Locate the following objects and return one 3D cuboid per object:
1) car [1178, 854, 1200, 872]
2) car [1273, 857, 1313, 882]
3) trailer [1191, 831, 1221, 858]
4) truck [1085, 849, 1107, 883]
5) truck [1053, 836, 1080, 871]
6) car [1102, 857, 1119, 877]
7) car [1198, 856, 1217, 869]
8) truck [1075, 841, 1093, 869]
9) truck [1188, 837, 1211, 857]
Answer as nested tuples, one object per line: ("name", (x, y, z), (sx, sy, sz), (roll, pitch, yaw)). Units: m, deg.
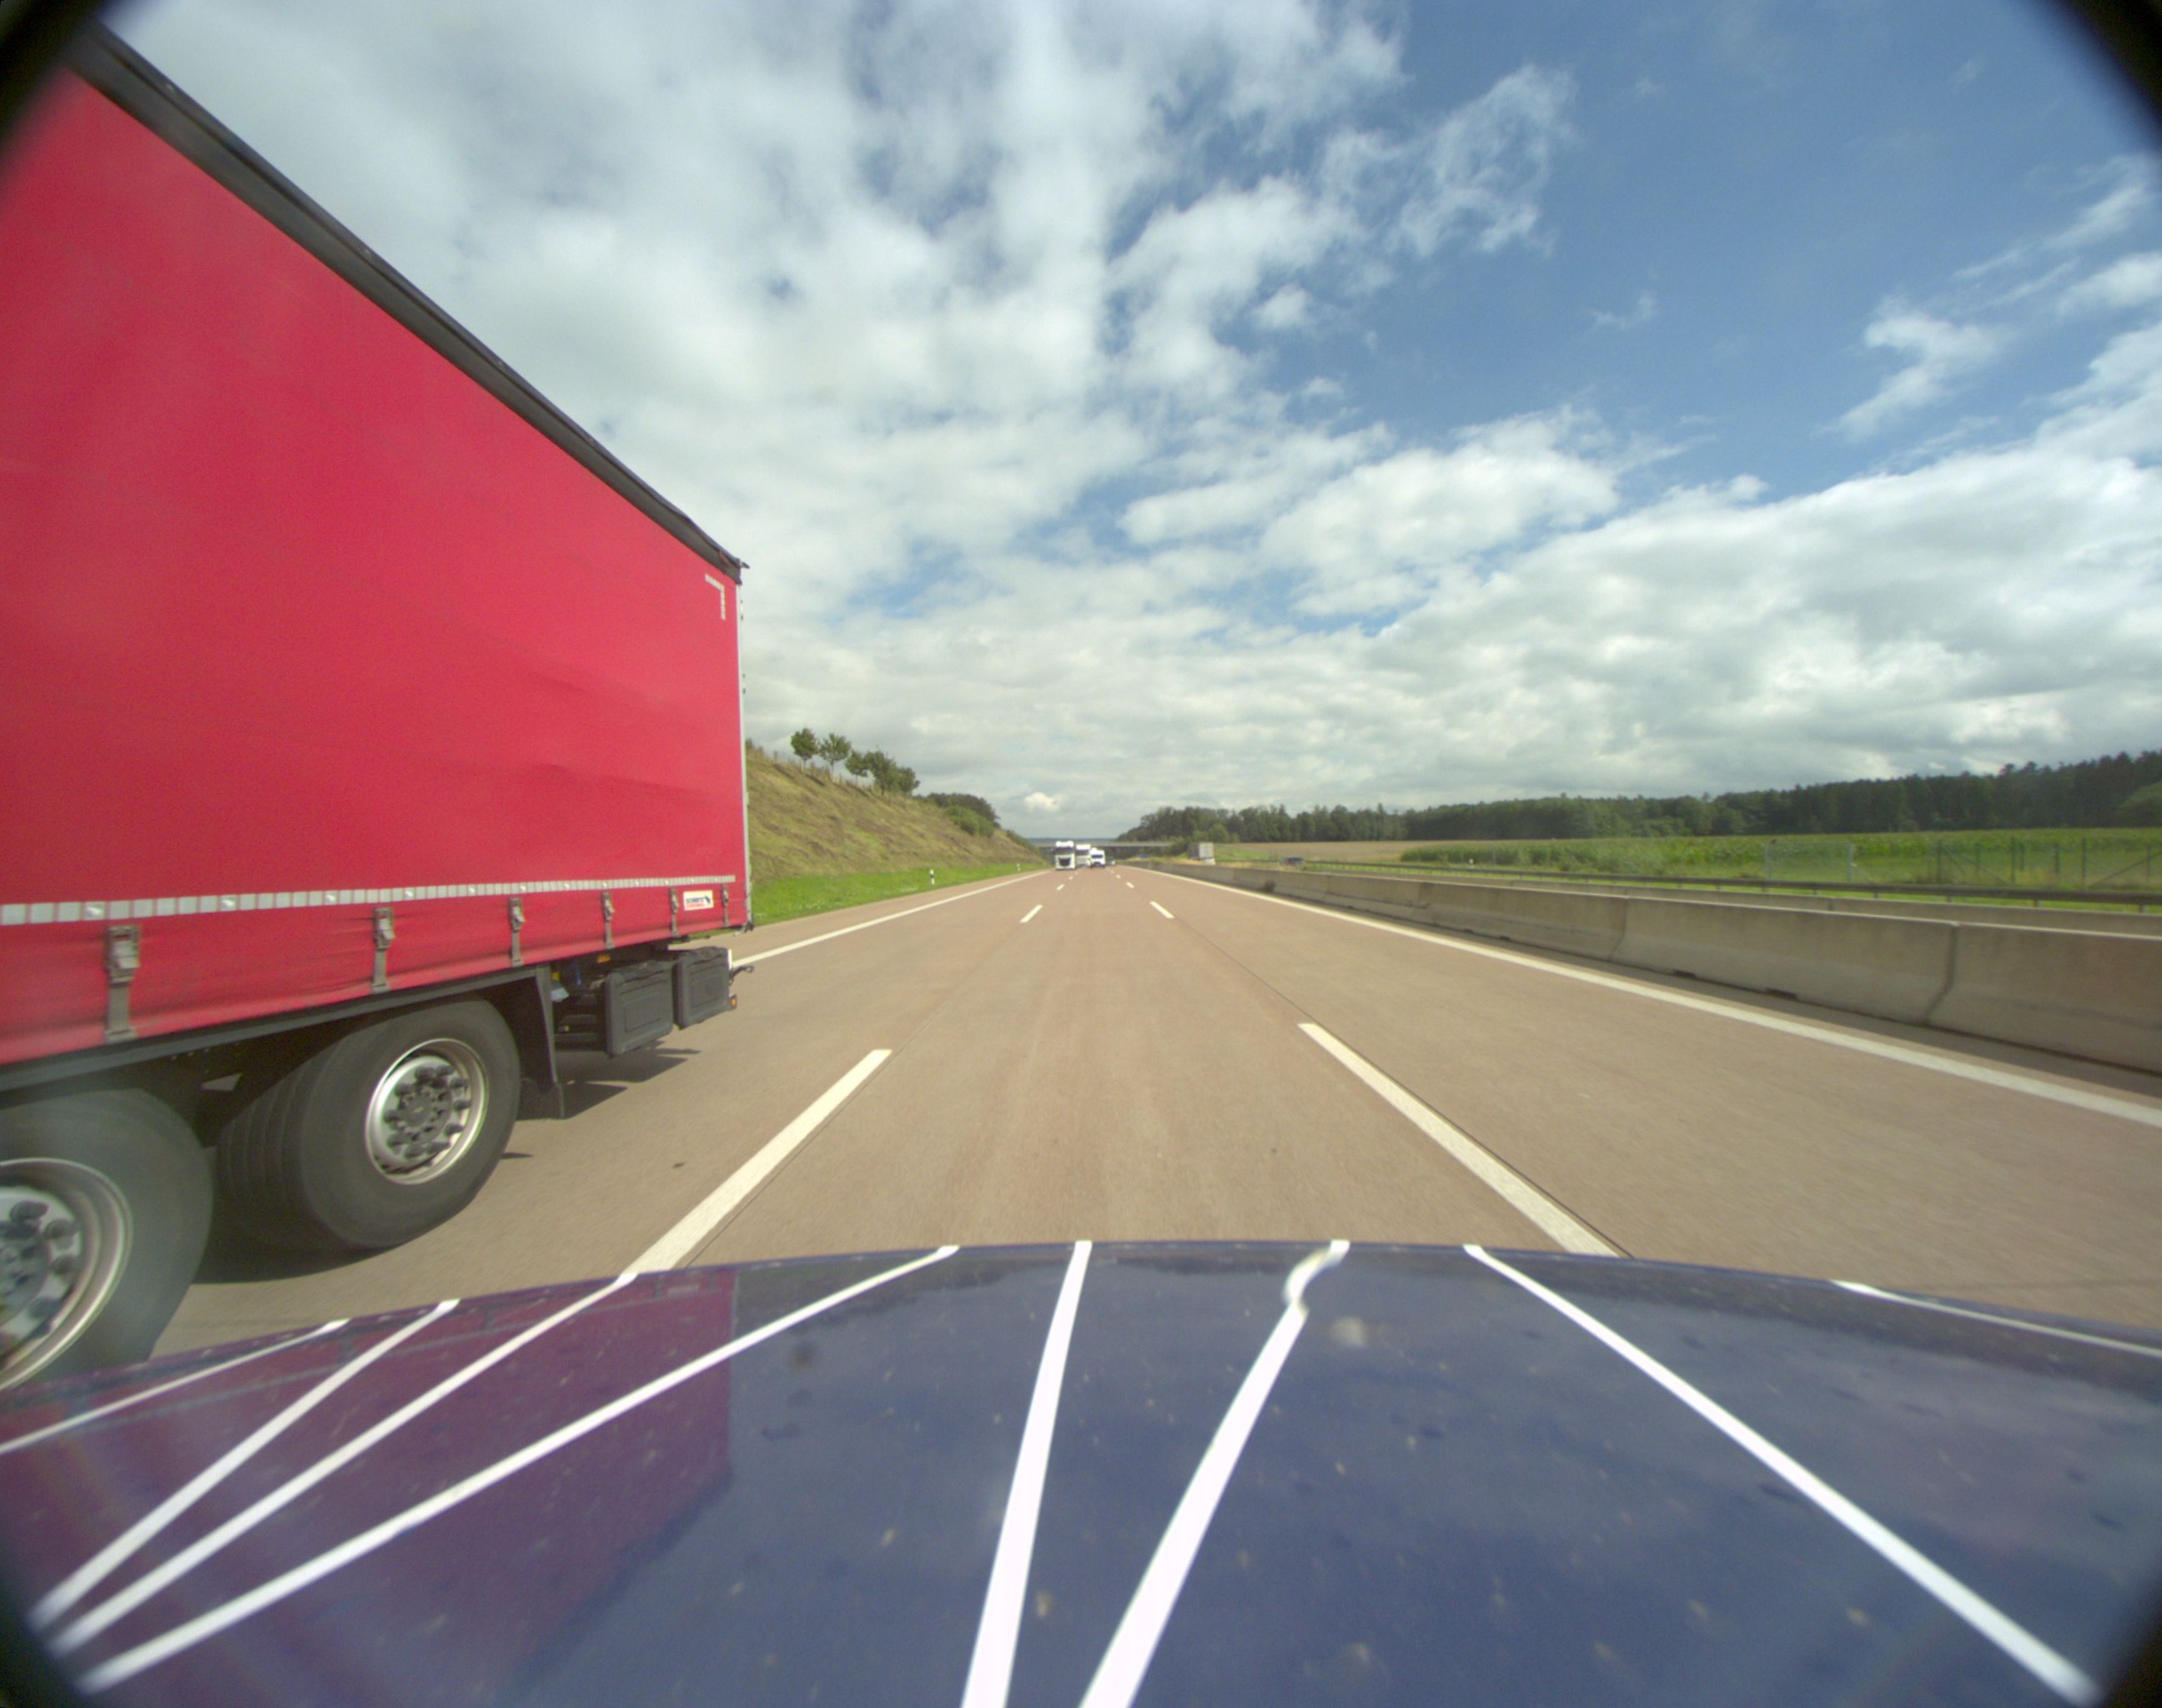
("car", (12.824, 1.051, 90.343), (1.998, 2.002, 4.000), (-1, 0, 1))
("car", (16.845, 1.190, 60.563), (1.999, 1.850, 4.195), (-1, 0, 0))
("trailer", (22.653, -1.708, 138.271), (3.413, 4.549, 13.870), (-1, 0, 1))
("truck", (2.049, 1.535, 104.480), (2.681, 4.334, 11.807), (-2, 1, 1))
("truck", (-1.822, -0.102, 103.109), (3.107, 4.334, 11.255), (-2, 1, 1))
("car", (5.282, 2.282, 136.181), (2.773, 3.261, 6.392), (-2, 1, 2))
("car", (17.987, 1.225, 108.415), (1.999, 1.850, 4.000), (-1, 0, 0))
("truck", (0.541, 0.112, 137.304), (2.926, 4.659, 11.807), (-2, 1, 1))
("truck", (22.909, -1.369, 147.487), (3.419, 3.801, 7.465), (-1, 0, 1))
